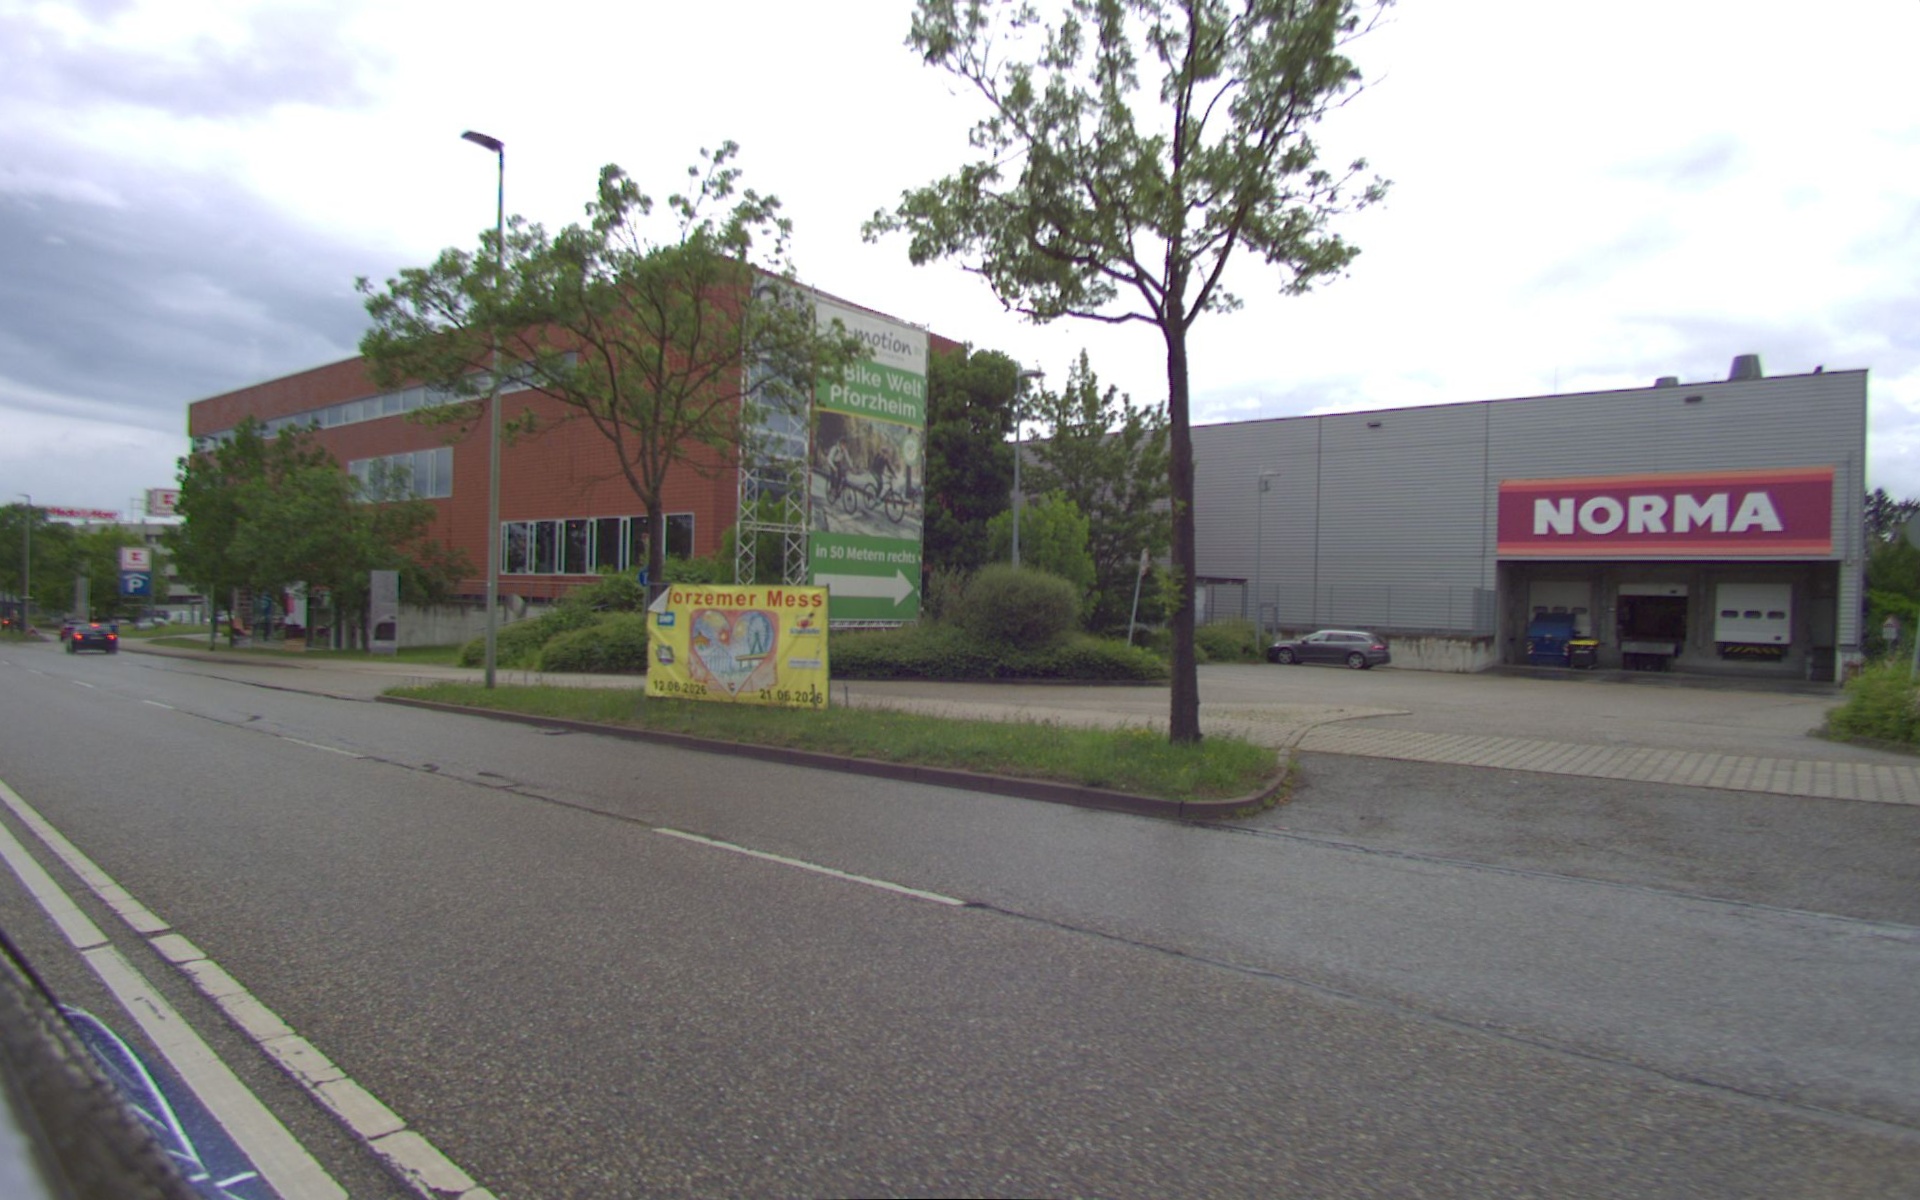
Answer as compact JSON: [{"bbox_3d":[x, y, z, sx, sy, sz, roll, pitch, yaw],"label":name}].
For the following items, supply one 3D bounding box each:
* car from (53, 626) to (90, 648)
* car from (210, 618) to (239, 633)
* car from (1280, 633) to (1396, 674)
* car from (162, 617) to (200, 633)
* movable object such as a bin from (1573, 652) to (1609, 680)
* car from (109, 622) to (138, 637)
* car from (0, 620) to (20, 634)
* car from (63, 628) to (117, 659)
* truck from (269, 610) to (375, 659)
[{"bbox_3d":[-63.250,2.599,71.998,4.218,1.518,1.657,-2,-3,45],"label":"car"},{"bbox_3d":[-66.826,2.317,91.975,3.450,1.293,1.489,0,0,42],"label":"car"},{"bbox_3d":[15.454,2.169,41.469,4.145,1.580,1.755,-1,-2,35],"label":"car"},{"bbox_3d":[-78.780,2.526,102.352,4.429,1.630,1.812,-1,-2,35],"label":"car"},{"bbox_3d":[29.088,3.030,46.647,1.241,1.188,1.406,1,-1,39],"label":"movable object such as a bin"},{"bbox_3d":[-94.071,3.267,113.839,4.060,1.630,1.810,-1,-2,40],"label":"car"},{"bbox_3d":[-114.683,3.271,122.121,1.806,1.630,4.005,-1,0,-42],"label":"car"},{"bbox_3d":[-42.966,2.113,49.961,1.717,1.465,4.002,3,-3,-45],"label":"car"},{"bbox_3d":[-45.758,2.478,72.698,2.020,3.333,6.079,0,-2,36],"label":"truck"}]
